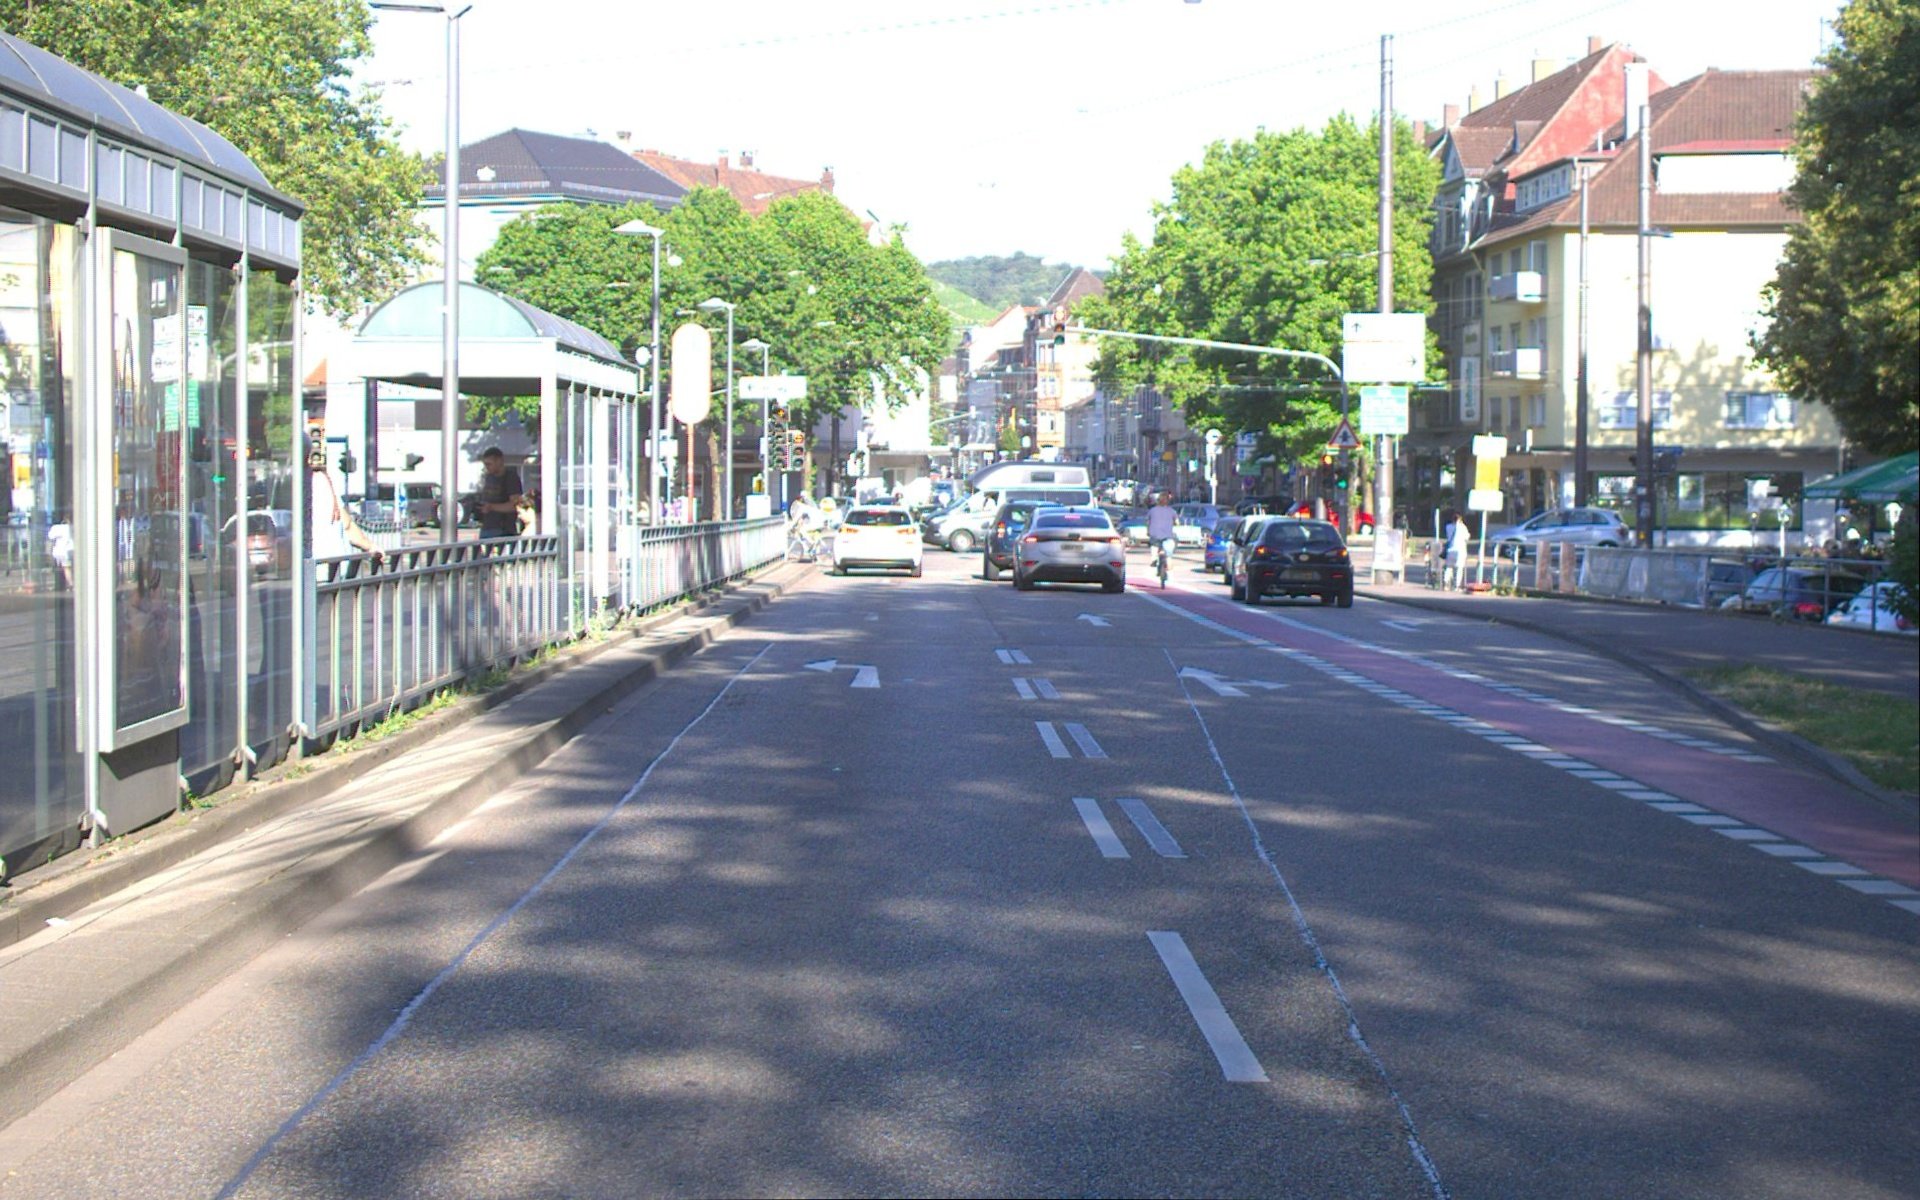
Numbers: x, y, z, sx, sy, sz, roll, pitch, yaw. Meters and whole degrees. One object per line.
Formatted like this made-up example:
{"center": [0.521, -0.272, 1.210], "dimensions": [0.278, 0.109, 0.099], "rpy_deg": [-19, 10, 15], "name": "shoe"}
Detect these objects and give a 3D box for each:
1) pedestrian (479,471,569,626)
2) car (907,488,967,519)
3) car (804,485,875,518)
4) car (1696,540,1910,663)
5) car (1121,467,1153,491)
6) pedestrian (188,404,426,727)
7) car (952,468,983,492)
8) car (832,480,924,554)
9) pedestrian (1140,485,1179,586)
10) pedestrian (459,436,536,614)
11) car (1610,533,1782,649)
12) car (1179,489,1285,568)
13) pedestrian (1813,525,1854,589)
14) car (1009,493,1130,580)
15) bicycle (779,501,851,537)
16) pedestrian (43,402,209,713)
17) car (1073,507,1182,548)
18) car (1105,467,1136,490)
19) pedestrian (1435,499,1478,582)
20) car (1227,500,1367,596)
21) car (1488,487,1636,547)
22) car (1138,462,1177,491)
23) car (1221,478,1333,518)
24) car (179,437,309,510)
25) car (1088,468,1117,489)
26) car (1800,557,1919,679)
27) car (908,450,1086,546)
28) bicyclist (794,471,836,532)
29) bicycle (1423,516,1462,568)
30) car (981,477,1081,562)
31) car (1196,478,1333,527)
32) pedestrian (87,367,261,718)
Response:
{"center": [-3.749, -0.446, 29.592], "dimensions": [0.678, 1.304, 0.593], "rpy_deg": [1, 1, 0], "name": "pedestrian"}
{"center": [-1.141, -4.818, 171.725], "dimensions": [1.796, 1.505, 3.997], "rpy_deg": [1, 1, 18], "name": "car"}
{"center": [-5.496, -4.507, 157.649], "dimensions": [1.726, 1.505, 3.871], "rpy_deg": [1, 1, 24], "name": "car"}
{"center": [13.189, -0.013, 54.043], "dimensions": [1.794, 1.796, 4.213], "rpy_deg": [1, 1, -8], "name": "car"}
{"center": [11.423, -7.831, 221.956], "dimensions": [1.794, 1.505, 4.001], "rpy_deg": [0, 2, -1], "name": "car"}
{"center": [-3.432, -0.193, 18.080], "dimensions": [0.801, 1.628, 0.865], "rpy_deg": [4, 3, 37], "name": "pedestrian"}
{"center": [0.489, -7.564, 216.633], "dimensions": [1.794, 1.505, 4.001], "rpy_deg": [0, 2, -2], "name": "car"}
{"center": [-1.698, -1.720, 70.709], "dimensions": [1.808, 1.447, 4.001], "rpy_deg": [1, 2, -1], "name": "car"}
{"center": [3.728, -1.208, 64.263], "dimensions": [0.657, 1.864, 0.678], "rpy_deg": [0, 2, -1], "name": "pedestrian"}
{"center": [-4.413, -0.720, 32.840], "dimensions": [0.595, 1.672, 0.589], "rpy_deg": [1, 1, 4], "name": "pedestrian"}
{"center": [12.768, -0.191, 59.893], "dimensions": [1.794, 1.891, 4.360], "rpy_deg": [1, 1, -3], "name": "car"}
{"center": [5.626, -1.508, 71.519], "dimensions": [1.794, 1.505, 4.001], "rpy_deg": [1, 3, -1], "name": "car"}
{"center": [18.840, -0.920, 74.158], "dimensions": [0.648, 1.333, 0.632], "rpy_deg": [3, 2, -1], "name": "pedestrian"}
{"center": [1.937, -1.177, 61.990], "dimensions": [1.929, 1.467, 4.855], "rpy_deg": [1, 2, -1], "name": "car"}
{"center": [-3.353, -1.873, 79.482], "dimensions": [1.614, 0.813, 0.526], "rpy_deg": [2, 2, 30], "name": "bicycle"}
{"center": [-4.728, -0.246, 19.483], "dimensions": [0.651, 1.716, 0.710], "rpy_deg": [1, 2, -36], "name": "pedestrian"}
{"center": [4.996, -2.176, 102.899], "dimensions": [2.902, 1.158, 2.074], "rpy_deg": [1, 1, -7], "name": "car"}
{"center": [10.639, -8.067, 228.108], "dimensions": [1.794, 1.505, 4.001], "rpy_deg": [0, 2, -1], "name": "car"}
{"center": [9.628, -1.153, 66.663], "dimensions": [0.648, 1.557, 0.631], "rpy_deg": [4, 2, 18], "name": "pedestrian"}
{"center": [5.510, -0.882, 56.682], "dimensions": [1.800, 1.434, 4.046], "rpy_deg": [2, 2, -1], "name": "car"}
{"center": [17.972, -2.486, 102.597], "dimensions": [4.150, 1.686, 1.820], "rpy_deg": [2, 2, 16], "name": "car"}
{"center": [12.385, -7.732, 215.435], "dimensions": [2.104, 1.770, 4.342], "rpy_deg": [0, 2, -1], "name": "car"}
{"center": [12.252, -3.940, 132.924], "dimensions": [3.986, 1.505, 1.801], "rpy_deg": [0, 2, -9], "name": "car"}
{"center": [-31.859, -5.633, 153.210], "dimensions": [2.499, 3.154, 6.528], "rpy_deg": [1, 2, 22], "name": "car"}
{"center": [10.236, -8.748, 247.335], "dimensions": [1.794, 1.517, 4.001], "rpy_deg": [0, 2, -1], "name": "car"}
{"center": [13.183, 0.227, 47.798], "dimensions": [1.794, 1.573, 4.443], "rpy_deg": [1, 1, -1], "name": "car"}
{"center": [1.073, -3.026, 102.401], "dimensions": [5.013, 2.733, 2.074], "rpy_deg": [1, 1, -7], "name": "car"}
{"center": [-3.348, -2.276, 79.469], "dimensions": [0.801, 1.409, 0.526], "rpy_deg": [1, 2, 30], "name": "bicyclist"}
{"center": [10.131, -1.220, 72.245], "dimensions": [0.498, 1.071, 1.800], "rpy_deg": [1, 1, -1], "name": "bicycle"}
{"center": [1.403, -1.647, 69.091], "dimensions": [1.800, 1.632, 4.046], "rpy_deg": [1, 2, -1], "name": "car"}
{"center": [9.691, -3.108, 109.568], "dimensions": [3.995, 1.505, 1.796], "rpy_deg": [2, 2, 37], "name": "car"}
{"center": [-4.224, -0.314, 18.508], "dimensions": [0.651, 1.835, 0.710], "rpy_deg": [2, 1, 9], "name": "pedestrian"}
